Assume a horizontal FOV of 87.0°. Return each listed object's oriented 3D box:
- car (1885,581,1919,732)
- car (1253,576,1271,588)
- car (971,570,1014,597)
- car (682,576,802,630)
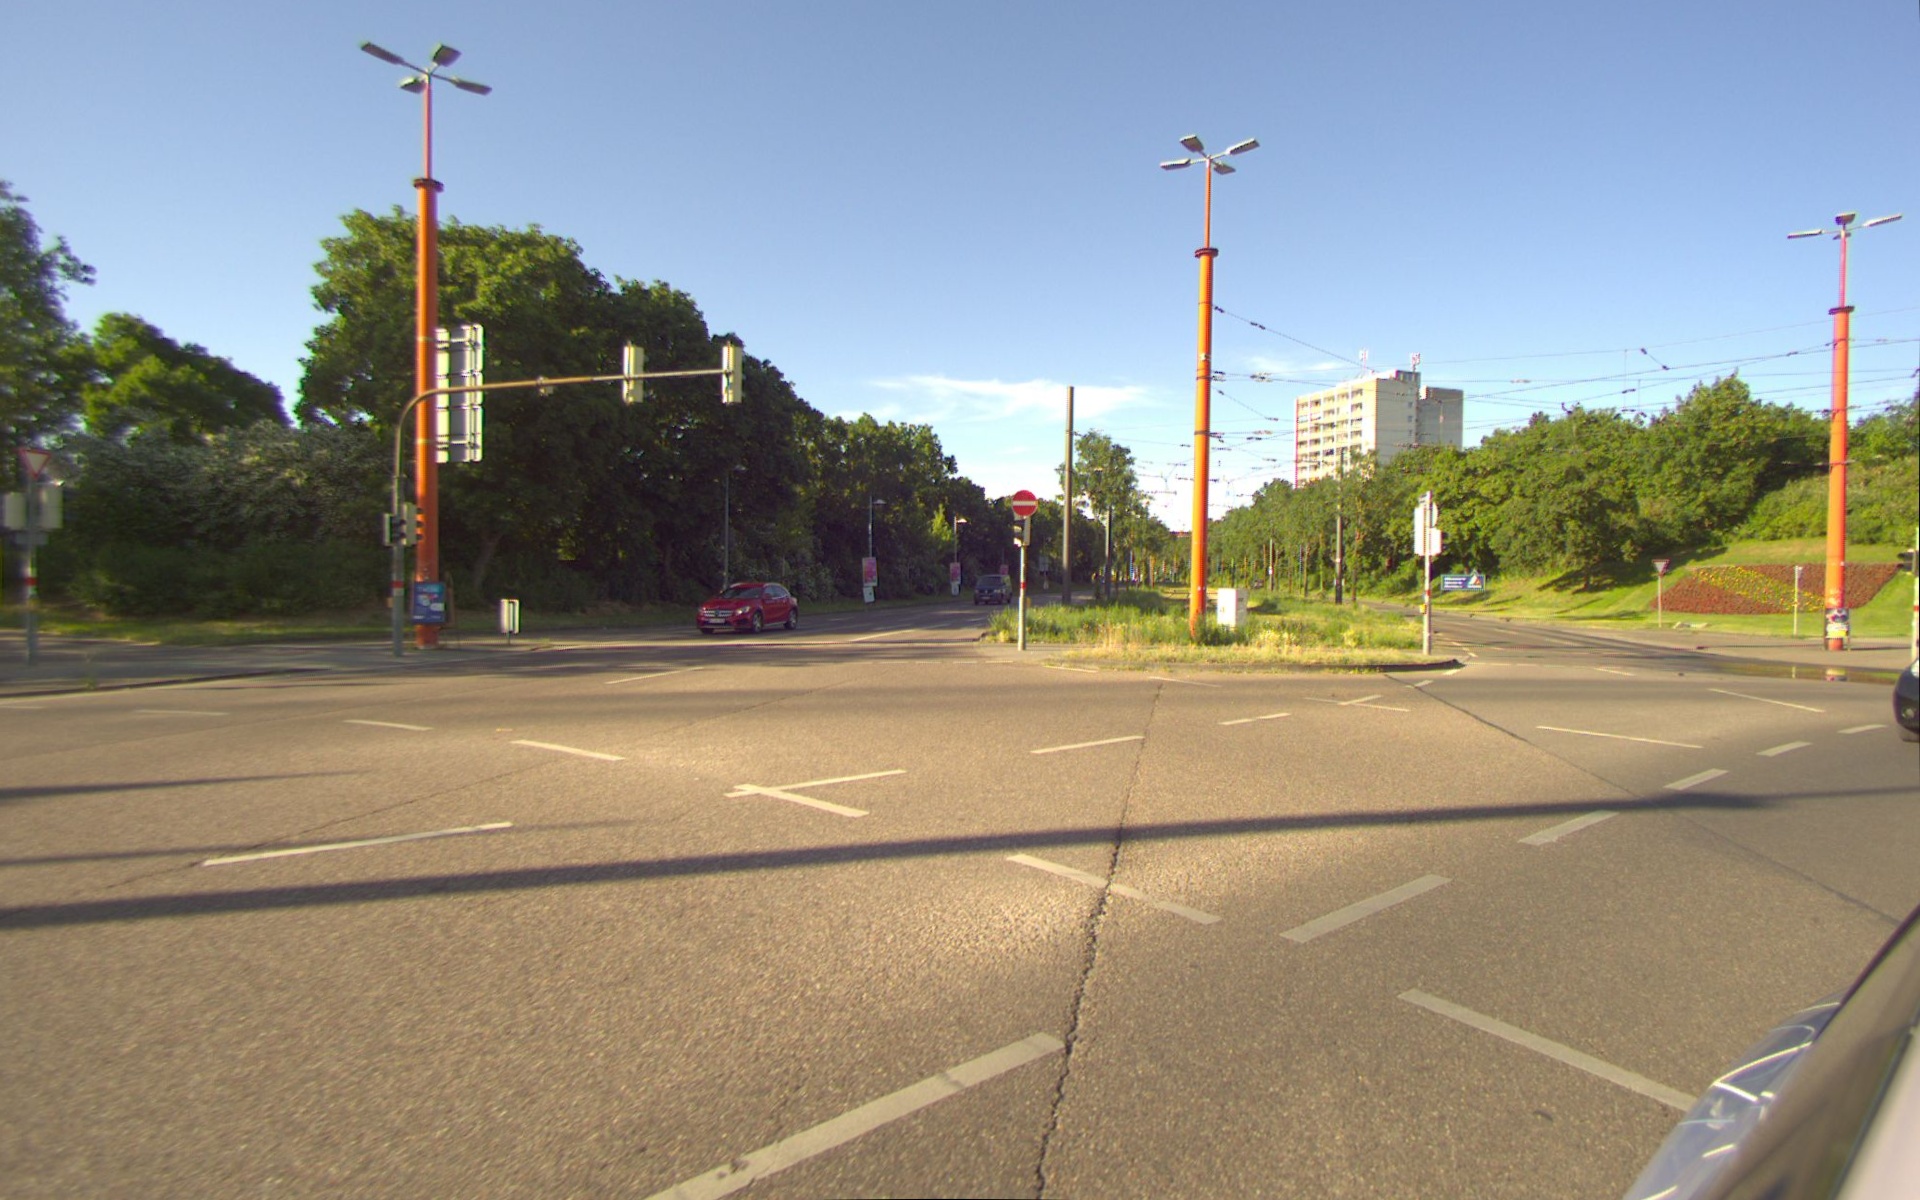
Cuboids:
[{"bbox_3d":[11.826,0.650,10.667,4.529,1.501,1.743,2,0,-30],"label":"car"},{"bbox_3d":[43.672,-2.578,146.482,1.969,1.725,4.678,0,1,11],"label":"car"},{"bbox_3d":[2.209,-1.119,67.974,1.970,1.753,4.800,1,1,13],"label":"car"},{"bbox_3d":[-6.525,0.030,30.803,1.970,1.514,4.273,1,1,13],"label":"car"}]
